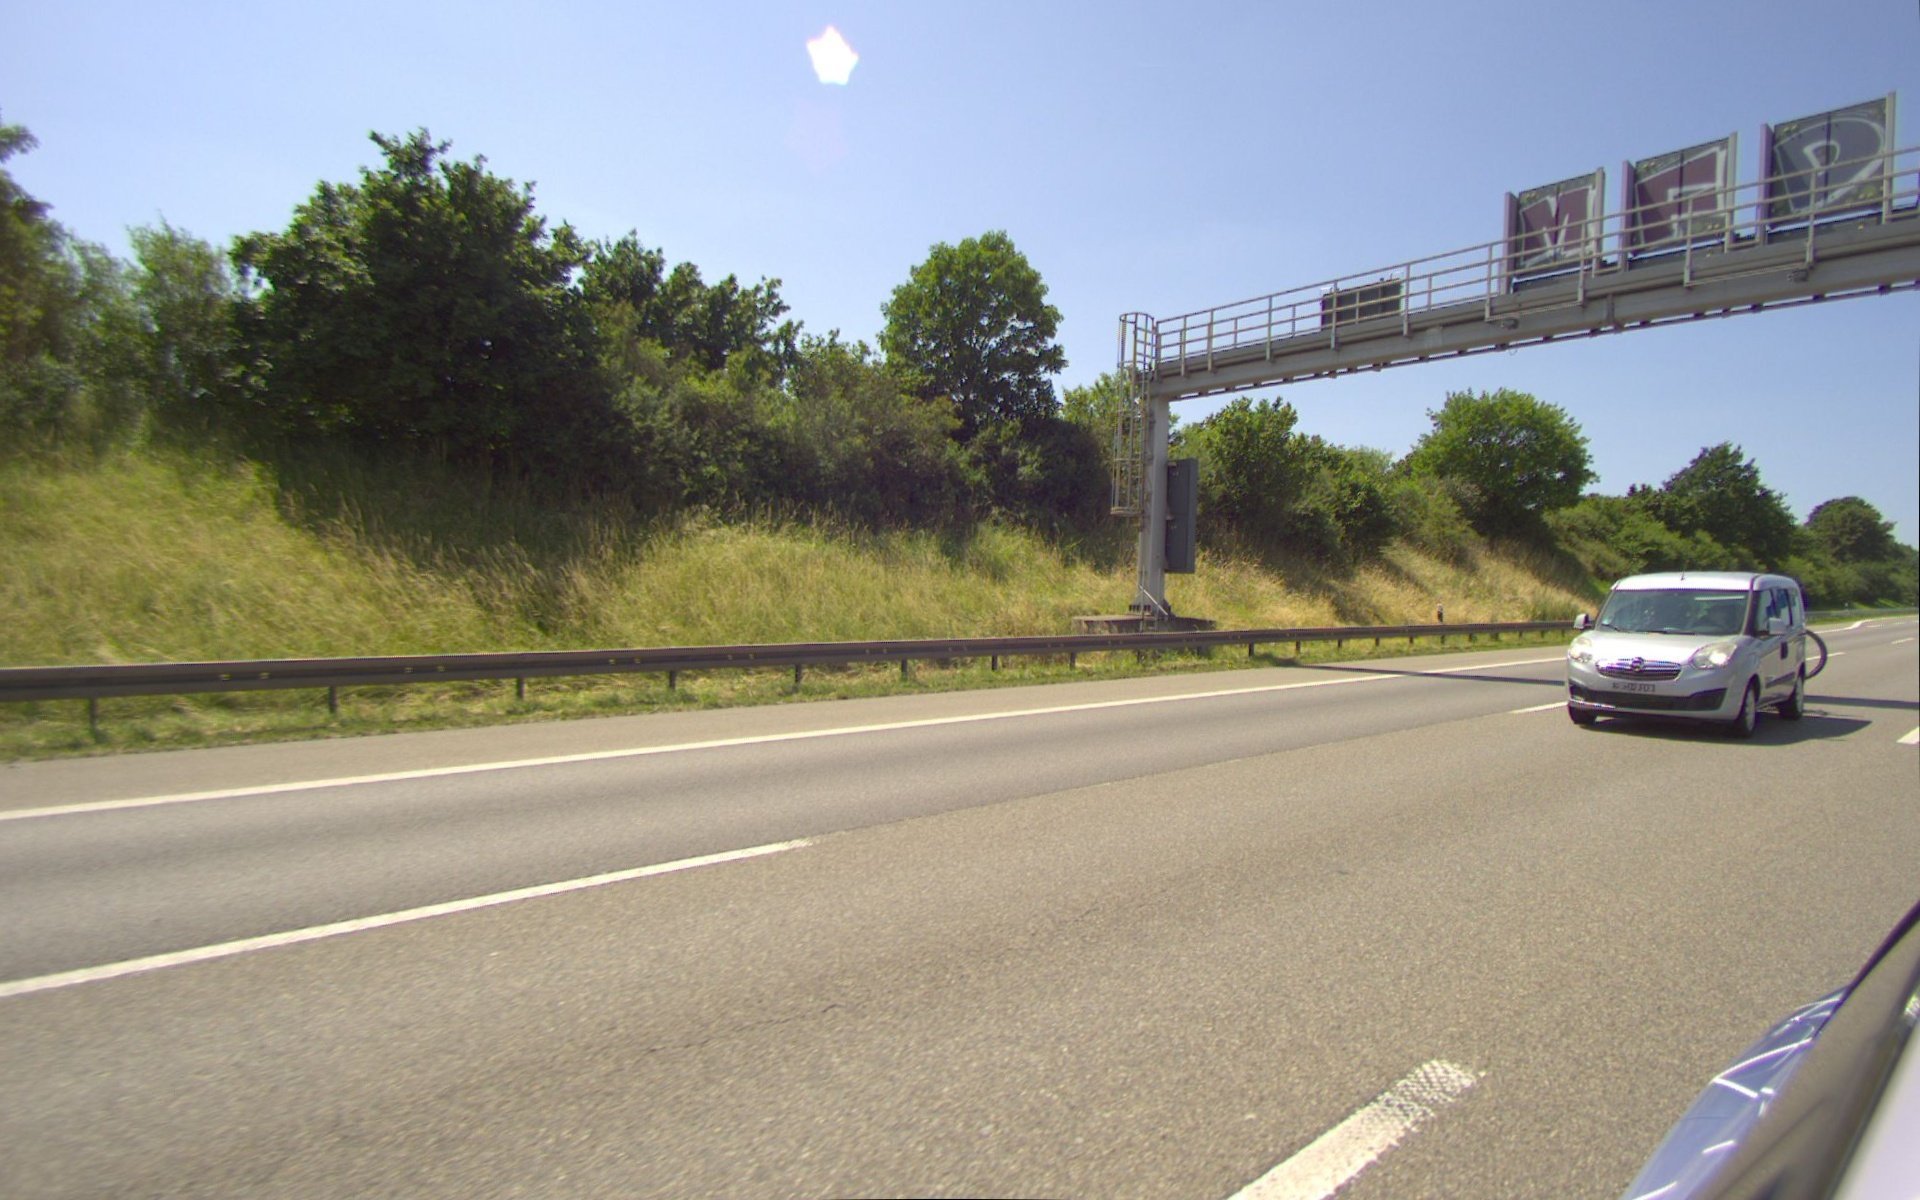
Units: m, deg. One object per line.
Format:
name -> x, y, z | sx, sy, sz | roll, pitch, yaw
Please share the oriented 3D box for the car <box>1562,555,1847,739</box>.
car -> 9.474, 0.464, 12.676 | 5.219, 1.870, 1.810 | 0, 0, -41
